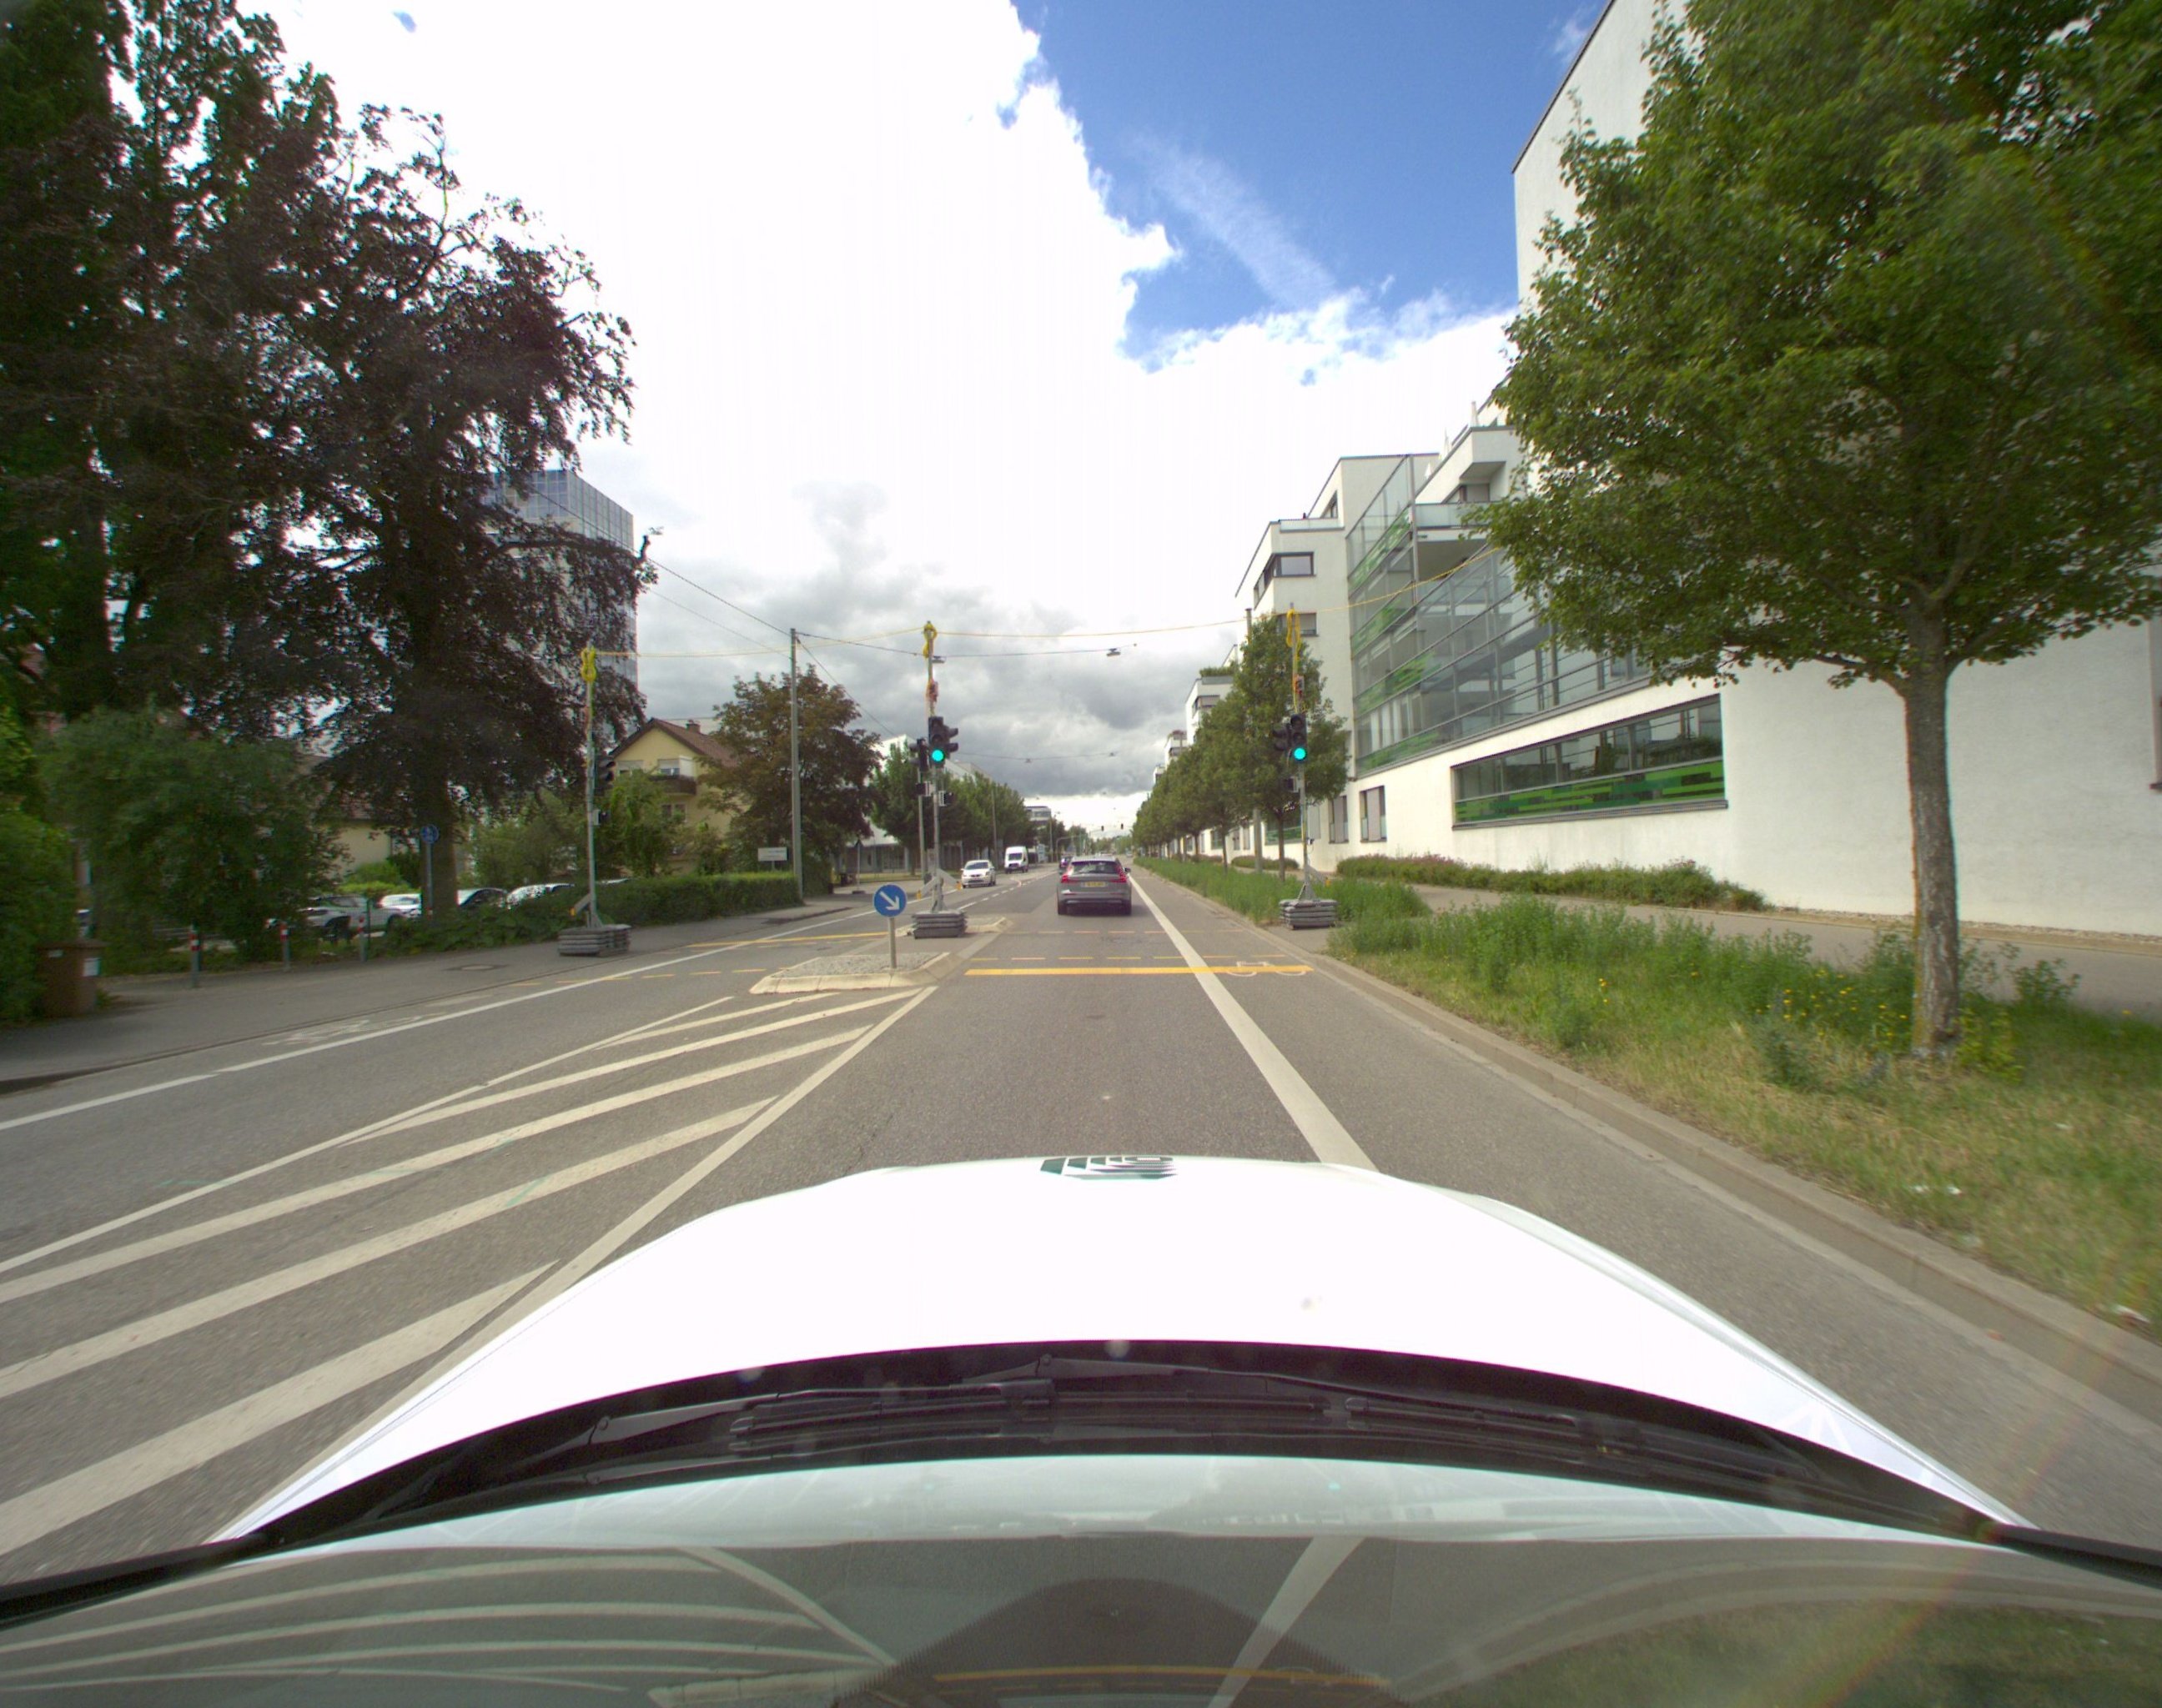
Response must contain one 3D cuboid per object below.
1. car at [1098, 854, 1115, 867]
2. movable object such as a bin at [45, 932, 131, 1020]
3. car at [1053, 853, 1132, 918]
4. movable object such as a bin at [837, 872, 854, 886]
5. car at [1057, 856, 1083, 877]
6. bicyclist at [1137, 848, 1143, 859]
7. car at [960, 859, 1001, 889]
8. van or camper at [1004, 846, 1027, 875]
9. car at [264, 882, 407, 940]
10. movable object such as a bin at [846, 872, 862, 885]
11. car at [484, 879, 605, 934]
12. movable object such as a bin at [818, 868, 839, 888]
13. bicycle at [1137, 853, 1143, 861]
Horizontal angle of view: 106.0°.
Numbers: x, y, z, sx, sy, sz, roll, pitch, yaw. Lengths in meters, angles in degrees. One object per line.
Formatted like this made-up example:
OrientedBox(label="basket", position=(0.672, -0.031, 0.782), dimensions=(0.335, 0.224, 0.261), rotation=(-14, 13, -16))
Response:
OrientedBox(label="car", position=(2.965, 0.739, 94.380), dimensions=(1.838, 1.513, 4.001), rotation=(-2, 0, 1))
OrientedBox(label="movable object such as a bin", position=(-12.060, 1.461, 9.904), dimensions=(0.559, 0.953, 0.533), rotation=(-2, 0, -42))
OrientedBox(label="car", position=(0.342, 0.761, 21.457), dimensions=(1.847, 1.513, 4.002), rotation=(-1, 0, 2))
OrientedBox(label="movable object such as a bin", position=(-17.505, 1.856, 60.531), dimensions=(0.742, 0.941, 1.001), rotation=(-4, 0, 8))
OrientedBox(label="car", position=(-0.840, 0.961, 63.812), dimensions=(1.848, 1.513, 4.001), rotation=(-2, 0, 1))
OrientedBox(label="bicyclist", position=(12.109, -0.110, 168.187), dimensions=(1.010, 2.013, 1.131), rotation=(-4, 0, 1))
OrientedBox(label="car", position=(-5.619, 1.079, 45.902), dimensions=(1.655, 1.515, 4.002), rotation=(-2, 0, 2))
OrientedBox(label="van or camper", position=(-6.760, 0.645, 84.916), dimensions=(1.989, 2.734, 6.047), rotation=(-3, 0, -2))
OrientedBox(label="car", position=(-25.351, 1.876, 27.856), dimensions=(1.656, 1.663, 3.435), rotation=(-2, 0, 0))
OrientedBox(label="movable object such as a bin", position=(-16.773, 1.809, 60.197), dimensions=(0.742, 0.941, 1.001), rotation=(-4, 0, 8))
OrientedBox(label="car", position=(-17.690, 1.694, 27.049), dimensions=(1.656, 1.515, 3.435), rotation=(-2, 0, 0))
OrientedBox(label="movable object such as a bin", position=(-18.869, 1.793, 60.802), dimensions=(1.411, 1.330, 1.414), rotation=(-4, 0, -20))
OrientedBox(label="bicycle", position=(12.166, 0.639, 168.089), dimensions=(1.063, 1.453, 2.978), rotation=(-4, 0, 1))
